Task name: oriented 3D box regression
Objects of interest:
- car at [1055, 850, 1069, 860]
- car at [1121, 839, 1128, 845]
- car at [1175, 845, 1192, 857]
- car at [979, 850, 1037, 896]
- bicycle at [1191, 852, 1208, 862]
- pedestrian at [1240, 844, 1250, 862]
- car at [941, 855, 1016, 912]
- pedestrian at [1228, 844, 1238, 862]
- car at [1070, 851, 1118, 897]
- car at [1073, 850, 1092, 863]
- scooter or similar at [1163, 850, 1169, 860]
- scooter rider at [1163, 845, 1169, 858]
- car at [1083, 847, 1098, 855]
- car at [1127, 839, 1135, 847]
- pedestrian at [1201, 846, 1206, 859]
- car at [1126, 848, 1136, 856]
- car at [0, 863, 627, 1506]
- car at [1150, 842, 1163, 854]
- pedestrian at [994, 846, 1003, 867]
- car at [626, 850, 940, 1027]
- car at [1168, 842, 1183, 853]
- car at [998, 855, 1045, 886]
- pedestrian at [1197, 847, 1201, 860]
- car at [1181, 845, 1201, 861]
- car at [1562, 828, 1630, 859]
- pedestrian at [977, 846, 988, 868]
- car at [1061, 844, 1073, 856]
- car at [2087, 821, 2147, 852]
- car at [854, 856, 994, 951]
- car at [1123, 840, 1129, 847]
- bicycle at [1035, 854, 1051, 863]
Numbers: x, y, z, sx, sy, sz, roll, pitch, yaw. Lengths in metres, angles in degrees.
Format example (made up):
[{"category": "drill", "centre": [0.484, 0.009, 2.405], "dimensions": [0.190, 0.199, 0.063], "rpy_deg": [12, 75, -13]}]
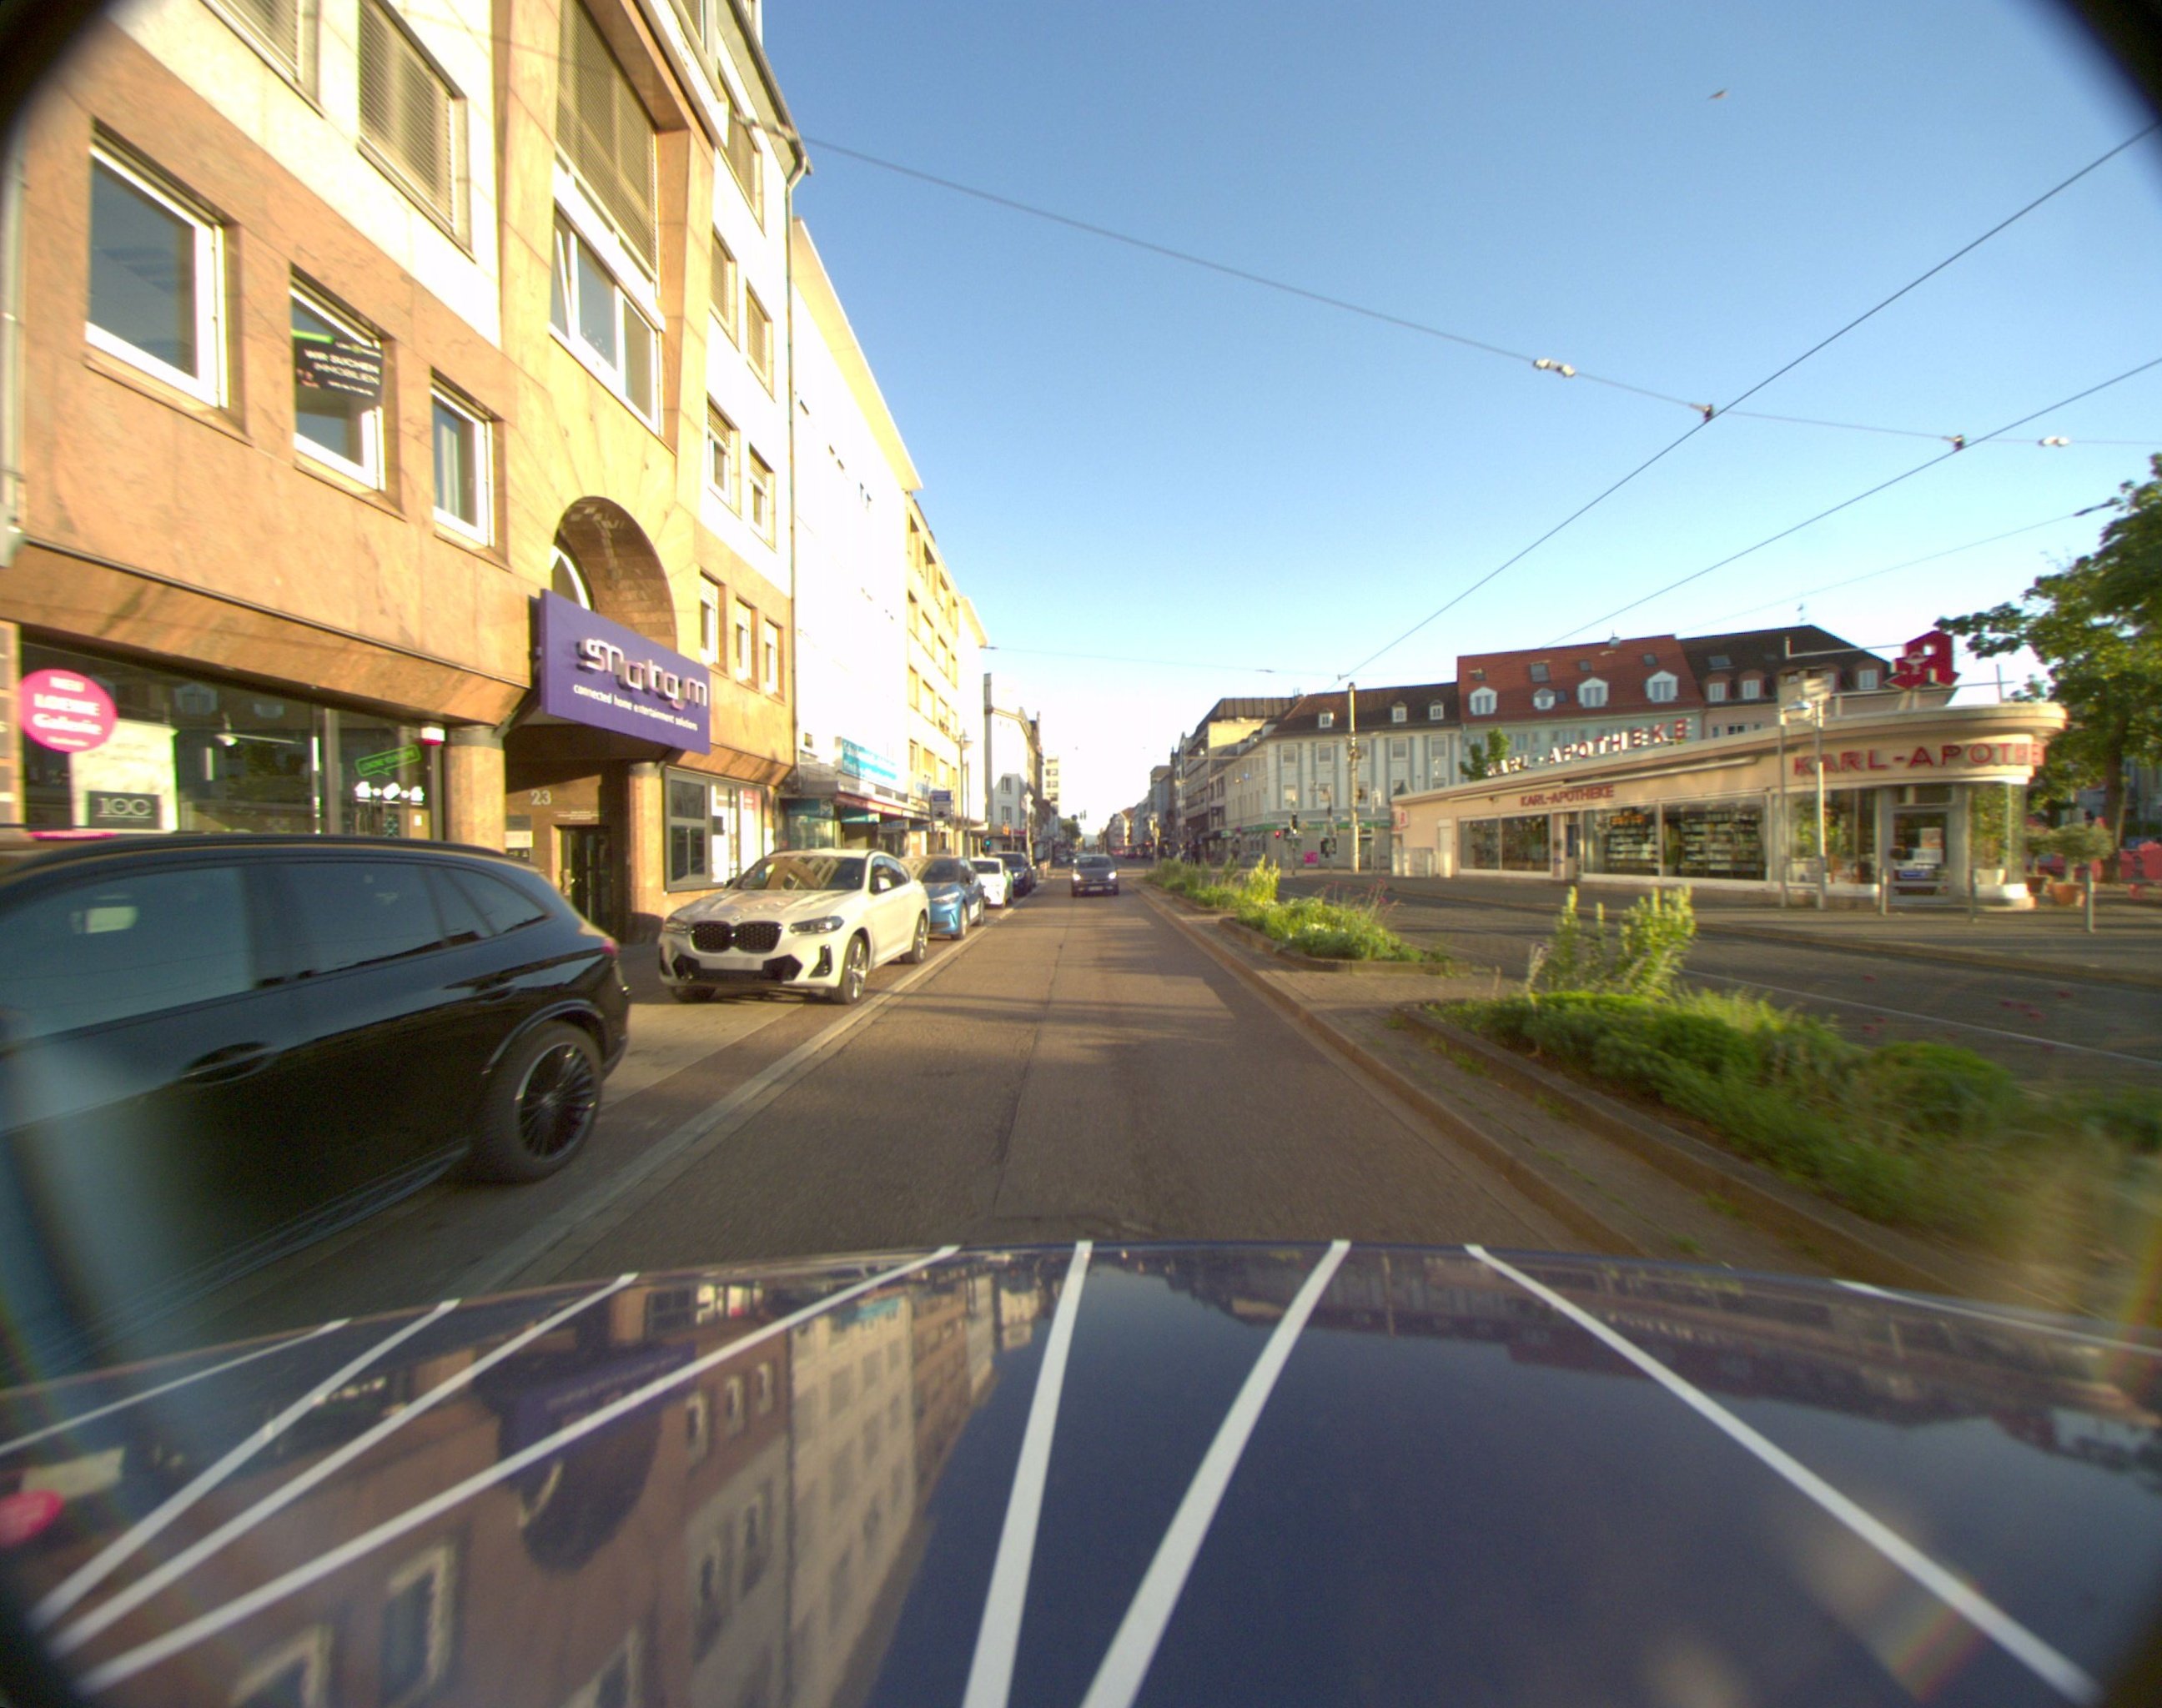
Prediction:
[{"category": "car", "centre": [-2.823, 0.125, 116.526], "dimensions": [2.041, 1.550, 4.386], "rpy_deg": [-1, 1, 0]}, {"category": "car", "centre": [15.028, -4.103, 263.145], "dimensions": [1.999, 2.003, 3.997], "rpy_deg": [-1, 2, -2]}, {"category": "car", "centre": [13.545, -0.391, 100.796], "dimensions": [1.701, 1.614, 3.999], "rpy_deg": [-1, 0, 0]}, {"category": "car", "centre": [-2.727, 0.659, 29.164], "dimensions": [1.769, 1.596, 4.287], "rpy_deg": [-1, 1, 0]}, {"category": "bicycle", "centre": [12.833, 0.294, 82.181], "dimensions": [1.740, 1.052, 0.499], "rpy_deg": [0, 0, 9]}, {"category": "pedestrian", "centre": [15.338, -0.085, 71.186], "dimensions": [0.826, 1.631, 0.814], "rpy_deg": [-1, 1, 17]}, {"category": "car", "centre": [-2.979, 0.806, 22.914], "dimensions": [1.735, 1.427, 4.150], "rpy_deg": [0, 2, -1]}, {"category": "pedestrian", "centre": [14.454, -0.081, 72.214], "dimensions": [0.827, 1.718, 0.814], "rpy_deg": [-2, 1, 7]}, {"category": "car", "centre": [0.437, 0.660, 27.212], "dimensions": [1.587, 1.445, 3.842], "rpy_deg": [-1, 1, 0]}, {"category": "car", "centre": [0.228, 0.283, 87.367], "dimensions": [1.914, 1.350, 3.747], "rpy_deg": [-2, 0, 4]}, {"category": "scooter or similar", "centre": [11.447, 0.143, 102.294], "dimensions": [0.545, 1.343, 1.669], "rpy_deg": [-1, 1, 2]}, {"category": "scooter rider", "centre": [11.442, -0.304, 102.294], "dimensions": [0.813, 1.796, 0.788], "rpy_deg": [-1, 0, 0]}, {"category": "car", "centre": [2.156, -0.627, 168.010], "dimensions": [1.802, 1.739, 3.842], "rpy_deg": [1, 3, 25]}, {"category": "car", "centre": [14.140, -3.253, 216.683], "dimensions": [1.975, 2.181, 4.132], "rpy_deg": [-1, 2, 0]}, {"category": "pedestrian", "centre": [16.523, -0.146, 102.640], "dimensions": [0.515, 1.725, 0.600], "rpy_deg": [-1, 3, 0]}, {"category": "car", "centre": [10.714, -0.426, 161.729], "dimensions": [1.895, 1.471, 4.544], "rpy_deg": [2, -1, 1]}, {"category": "car", "centre": [-3.463, 0.796, 1.990], "dimensions": [1.780, 1.529, 4.578], "rpy_deg": [-1, -1, 0]}, {"category": "car", "centre": [13.438, -1.074, 134.894], "dimensions": [1.998, 2.003, 3.998], "rpy_deg": [0, 2, 1]}, {"category": "pedestrian", "centre": [-6.726, 0.202, 61.846], "dimensions": [0.749, 1.763, 0.586], "rpy_deg": [-1, 1, -7]}, {"category": "car", "centre": [-3.152, 0.761, 9.270], "dimensions": [1.821, 1.576, 4.723], "rpy_deg": [-1, 1, 2]}, {"category": "car", "centre": [13.823, -0.936, 111.179], "dimensions": [1.819, 1.548, 3.998], "rpy_deg": [0, 2, 1]}, {"category": "car", "centre": [-2.745, 0.738, 35.822], "dimensions": [1.677, 1.275, 4.063], "rpy_deg": [0, 1, 3]}, {"category": "pedestrian", "centre": [15.946, -0.091, 102.600], "dimensions": [0.509, 1.675, 0.583], "rpy_deg": [-1, 2, 0]}, {"category": "car", "centre": [13.668, -0.142, 94.717], "dimensions": [1.915, 1.785, 4.128], "rpy_deg": [-2, 1, 0]}, {"category": "car", "centre": [35.715, -0.775, 52.848], "dimensions": [1.998, 2.003, 3.998], "rpy_deg": [-1, 2, 1]}, {"category": "pedestrian", "centre": [-8.002, 0.244, 61.828], "dimensions": [0.749, 1.763, 0.639], "rpy_deg": [-1, 1, 4]}, {"category": "car", "centre": [-2.464, -0.739, 133.119], "dimensions": [2.041, 2.105, 4.386], "rpy_deg": [-1, 1, 0]}, {"category": "car", "centre": [70.327, -1.229, 51.631], "dimensions": [4.007, 2.003, 1.994], "rpy_deg": [-3, 3, -42]}, {"category": "car", "centre": [-2.936, 0.843, 15.308], "dimensions": [1.814, 1.543, 4.835], "rpy_deg": [-1, 1, 0]}, {"category": "car", "centre": [15.241, -3.559, 257.556], "dimensions": [1.999, 2.003, 3.997], "rpy_deg": [-1, 2, -2]}, {"category": "bicycle", "centre": [-4.526, 0.572, 90.829], "dimensions": [1.829, 1.025, 0.443], "rpy_deg": [1, 1, -6]}]
